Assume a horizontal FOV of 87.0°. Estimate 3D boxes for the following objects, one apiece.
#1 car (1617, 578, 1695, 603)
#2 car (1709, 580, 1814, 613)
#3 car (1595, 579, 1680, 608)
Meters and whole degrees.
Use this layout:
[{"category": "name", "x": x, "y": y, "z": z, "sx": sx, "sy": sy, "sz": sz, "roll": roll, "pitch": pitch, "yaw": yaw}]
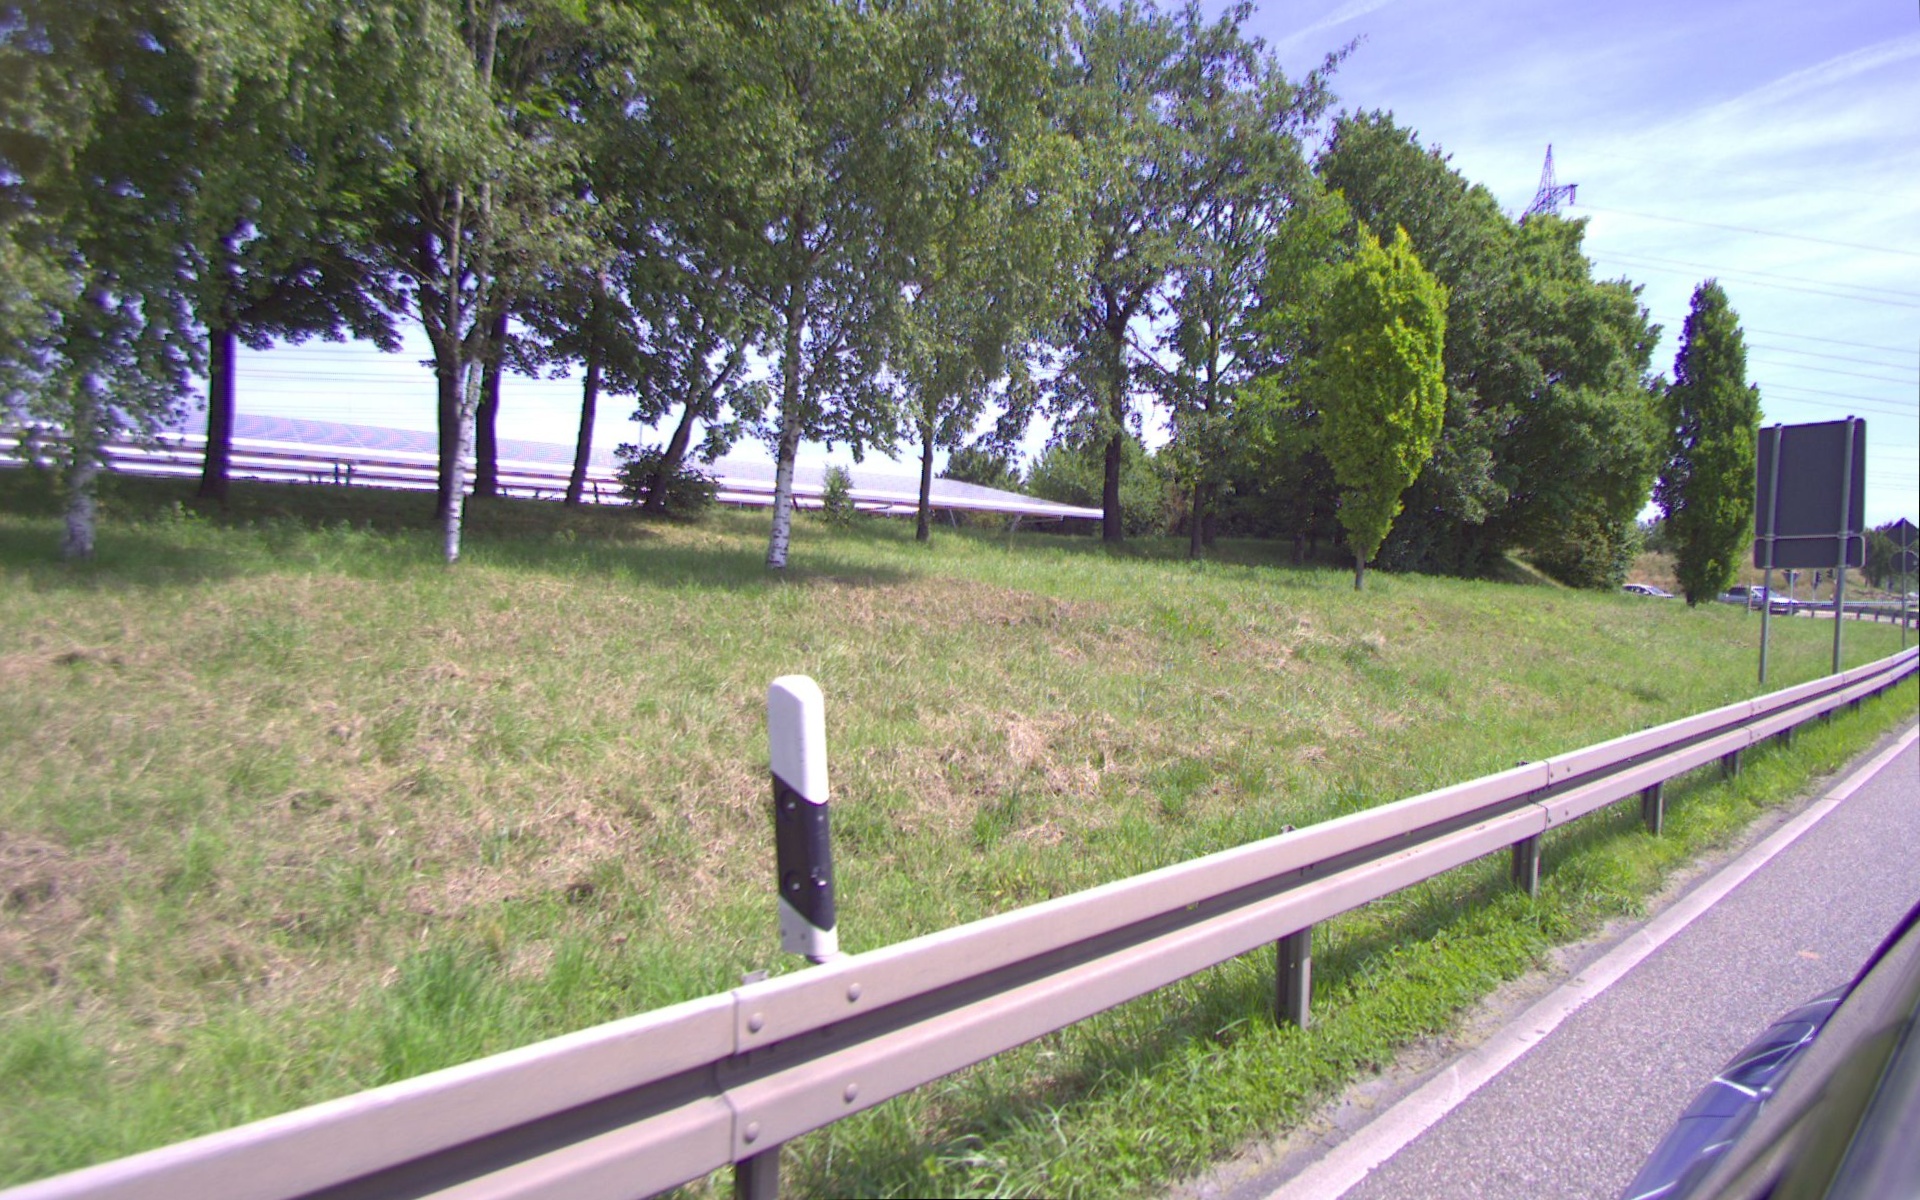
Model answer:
[{"category": "car", "x": 45.419, "y": -0.659, "z": 66.153, "sx": 3.964, "sy": 1.529, "sz": 1.699, "roll": 2, "pitch": 2, "yaw": 29}, {"category": "car", "x": 44.286, "y": -0.240, "z": 56.047, "sx": 1.798, "sy": 1.675, "sz": 4.381, "roll": 1, "pitch": 2, "yaw": -11}, {"category": "car", "x": 41.913, "y": -0.441, "z": 62.667, "sx": 1.745, "sy": 1.619, "sz": 4.008, "roll": 0, "pitch": 3, "yaw": -27}]
